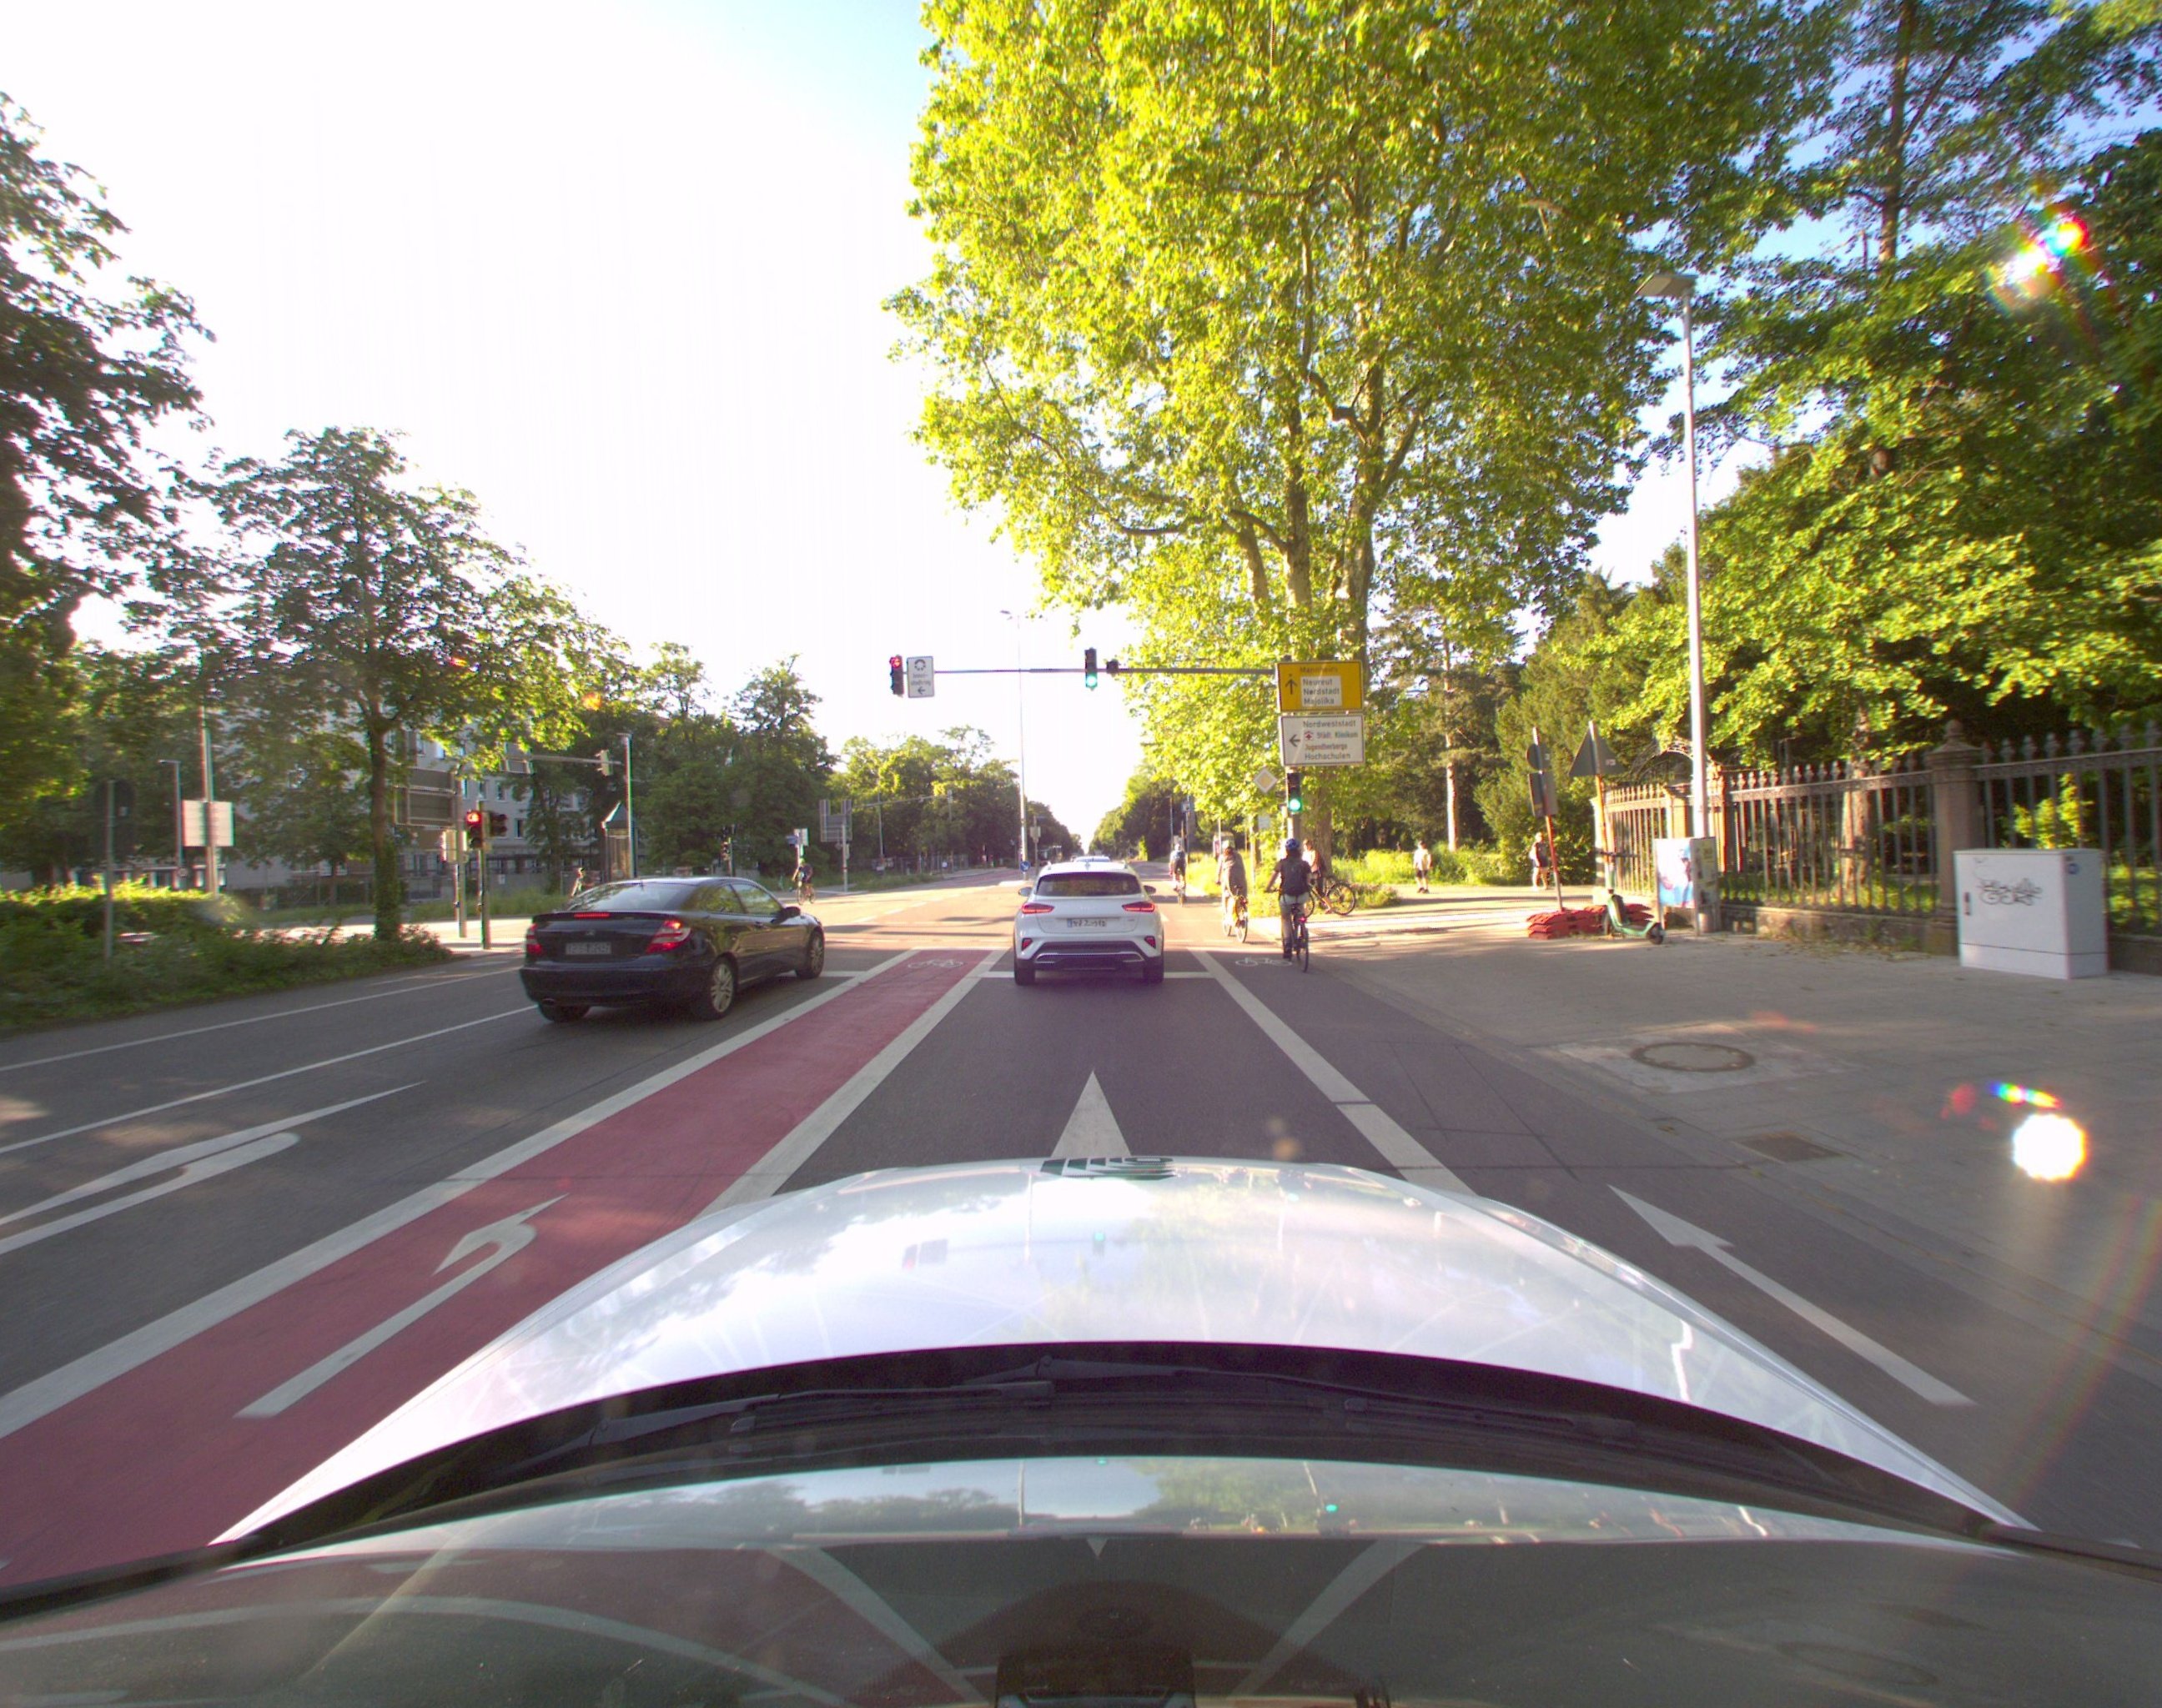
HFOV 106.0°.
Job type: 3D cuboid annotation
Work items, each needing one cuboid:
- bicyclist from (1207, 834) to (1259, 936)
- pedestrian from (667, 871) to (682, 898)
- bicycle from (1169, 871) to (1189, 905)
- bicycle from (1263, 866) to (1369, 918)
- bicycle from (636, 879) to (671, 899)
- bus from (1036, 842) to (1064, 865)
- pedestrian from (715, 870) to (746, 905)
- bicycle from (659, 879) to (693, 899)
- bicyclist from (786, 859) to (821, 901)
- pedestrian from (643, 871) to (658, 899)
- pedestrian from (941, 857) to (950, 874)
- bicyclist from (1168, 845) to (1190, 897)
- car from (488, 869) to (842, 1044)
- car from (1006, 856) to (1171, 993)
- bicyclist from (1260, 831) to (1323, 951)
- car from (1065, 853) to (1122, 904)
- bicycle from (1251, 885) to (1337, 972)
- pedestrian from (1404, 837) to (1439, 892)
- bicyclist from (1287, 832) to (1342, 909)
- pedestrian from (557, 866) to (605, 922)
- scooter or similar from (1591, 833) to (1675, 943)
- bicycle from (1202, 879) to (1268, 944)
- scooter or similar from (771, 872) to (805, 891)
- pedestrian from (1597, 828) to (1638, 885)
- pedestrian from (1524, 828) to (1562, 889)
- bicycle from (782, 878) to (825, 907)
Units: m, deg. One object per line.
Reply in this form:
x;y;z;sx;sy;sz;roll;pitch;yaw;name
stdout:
2.784;0.551;15.031;0.750;1.796;1.165;0;0;0;bicyclist
-24.571;1.859;49.193;0.628;1.580;0.444;-3;0;-8;pedestrian
2.847;0.973;23.698;0.400;0.956;1.551;-1;-1;2;bicycle
5.147;0.821;17.869;2.093;0.976;0.747;-3;0;-11;bicycle
-26.142;2.157;49.772;1.859;1.148;0.442;-1;-1;-5;bicycle
-5.455;-0.070;146.059;3.726;3.673;13.251;-3;0;3;bus
-17.457;1.656;40.541;1.086;1.603;0.999;-3;0;-5;pedestrian
-24.621;2.110;49.500;1.859;1.148;0.290;-1;-1;-5;bicycle
-11.131;1.024;32.682;0.871;1.608;1.189;-3;0;4;bicyclist
-26.371;1.900;49.936;0.628;1.642;0.444;-3;0;-8;pedestrian
-14.405;1.237;86.602;0.781;1.785;0.751;-1;-1;2;pedestrian
2.861;0.493;23.804;0.552;1.478;0.717;-1;-1;1;bicyclist
-4.322;0.947;9.365;1.698;1.405;4.266;-3;0;2;car
0.107;0.799;11.166;1.815;1.480;3.936;-2;0;0;car
2.890;0.497;11.248;0.663;1.602;0.721;-1;0;0;bicyclist
0.404;0.767;27.101;1.723;1.483;3.517;-3;0;0;car
2.898;0.975;11.303;0.666;1.009;2.081;-1;0;1;bicycle
9.672;0.303;23.121;0.810;1.518;0.922;-2;-1;28;pedestrian
5.107;0.354;17.866;0.847;1.613;0.733;-3;0;-11;bicyclist
-18.806;1.484;30.665;0.990;2.014;1.193;-1;-1;7;pedestrian
7.072;0.408;10.482;0.227;1.327;1.172;-3;0;1;scooter or similar
2.788;1.013;15.049;0.755;1.013;2.569;0;0;1;bicycle
-18.663;1.739;51.889;0.703;1.124;1.933;-2;-1;35;scooter or similar
16.255;0.079;24.703;0.819;1.681;0.696;-2;-1;15;pedestrian
13.204;0.139;23.271;0.686;1.699;0.644;-1;-1;2;pedestrian
-11.104;1.525;32.644;0.660;0.989;2.507;-3;0;4;bicycle
